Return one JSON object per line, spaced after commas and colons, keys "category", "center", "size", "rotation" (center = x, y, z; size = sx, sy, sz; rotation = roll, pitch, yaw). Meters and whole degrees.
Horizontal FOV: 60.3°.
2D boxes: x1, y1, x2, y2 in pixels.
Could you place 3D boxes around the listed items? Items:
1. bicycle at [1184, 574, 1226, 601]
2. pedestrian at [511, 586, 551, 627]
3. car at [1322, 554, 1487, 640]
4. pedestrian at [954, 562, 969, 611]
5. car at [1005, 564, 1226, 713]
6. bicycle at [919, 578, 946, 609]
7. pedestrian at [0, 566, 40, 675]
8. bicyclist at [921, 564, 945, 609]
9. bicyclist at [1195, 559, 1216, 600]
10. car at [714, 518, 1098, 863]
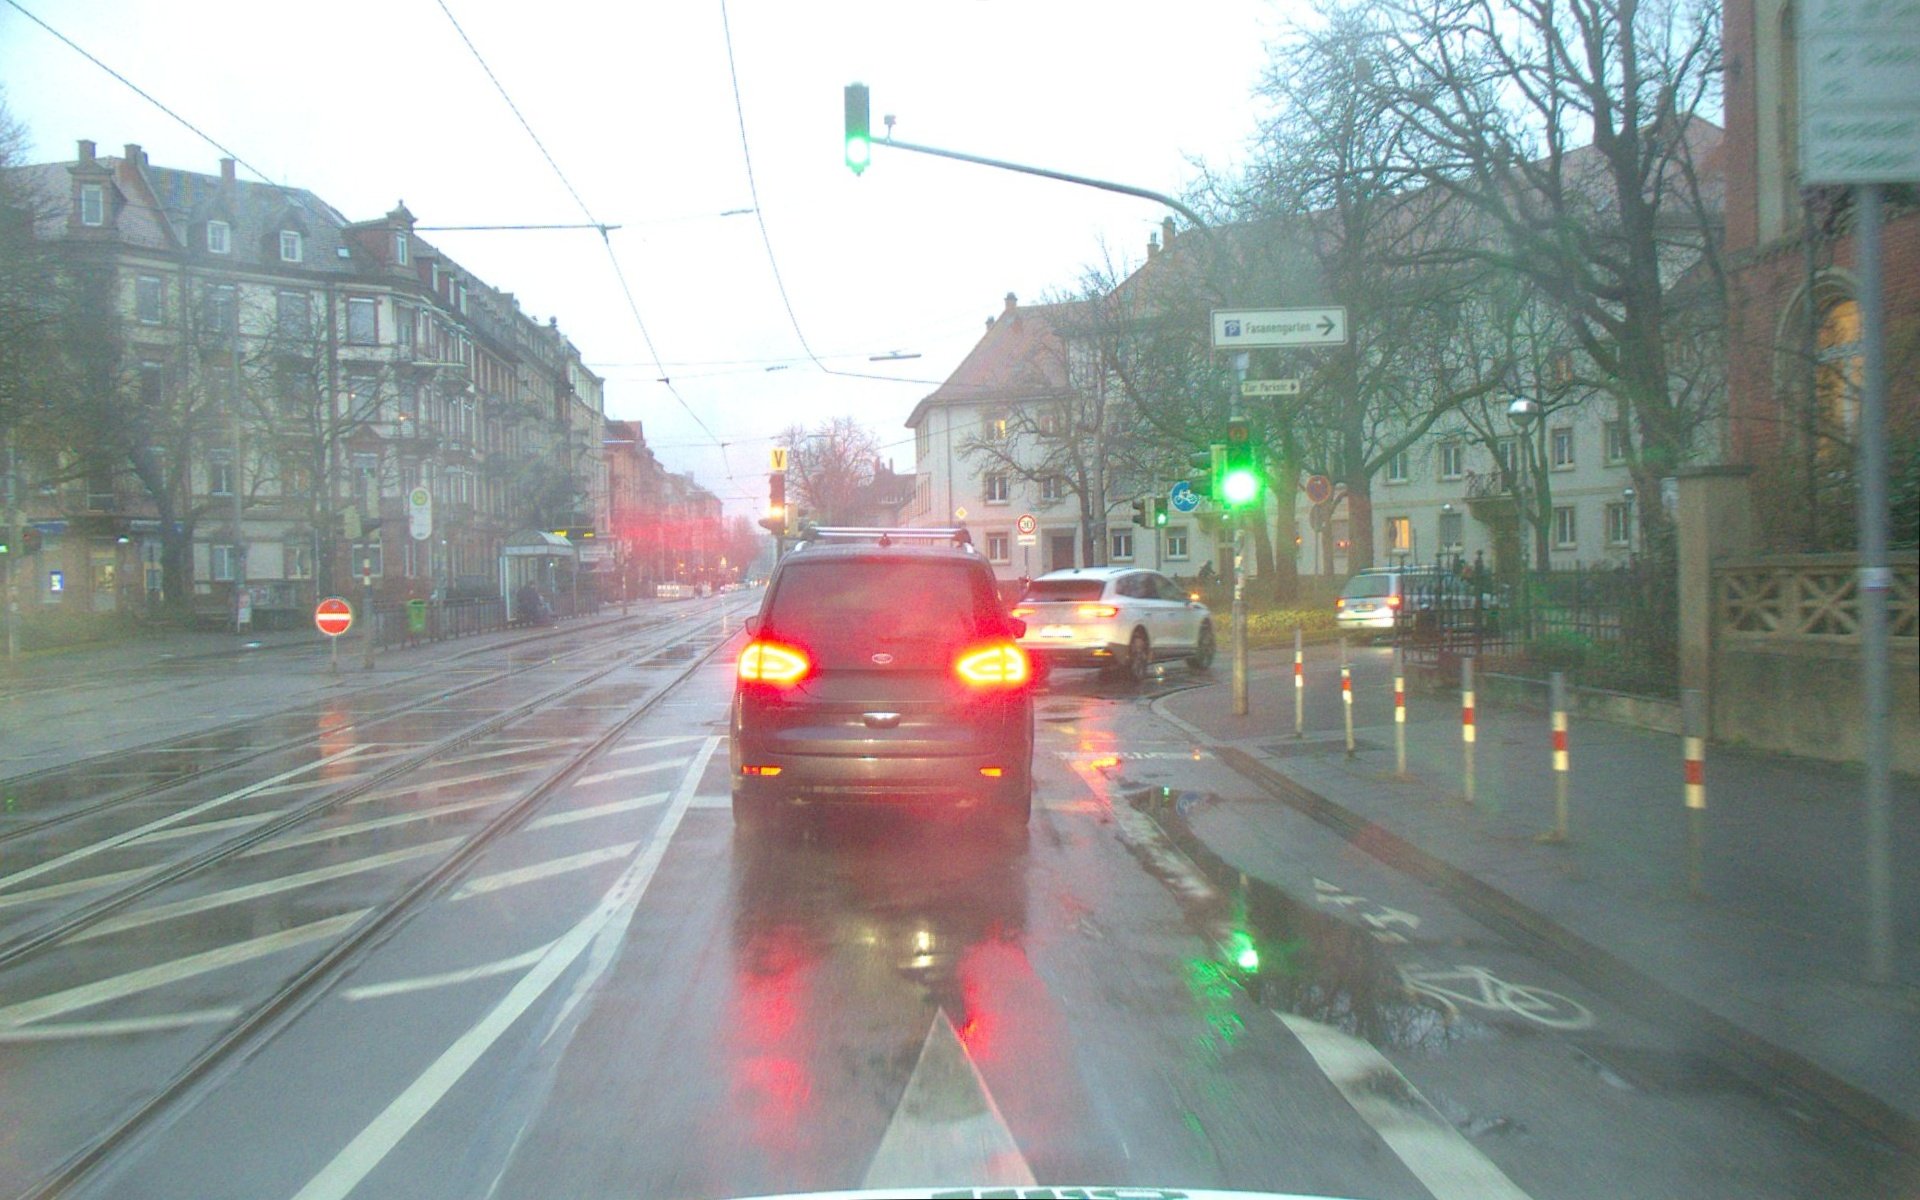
{"category": "bicycle", "center": [11.592, -0.595, 78.231], "size": [1.814, 1.204, 0.713], "rotation": [-1, 1, 27]}
{"category": "pedestrian", "center": [-12.909, 0.189, 49.786], "size": [1.027, 1.221, 0.884], "rotation": [-1, 0, -4]}
{"category": "car", "center": [9.323, -0.072, 34.549], "size": [1.684, 1.691, 3.974], "rotation": [-1, 0, 43]}
{"category": "pedestrian", "center": [0.069, -0.556, 70.108], "size": [0.584, 2.049, 0.631], "rotation": [-1, 0, -1]}
{"category": "car", "center": [2.438, 0.516, 24.930], "size": [1.677, 2.049, 4.291], "rotation": [-1, 0, 30]}
{"category": "bicycle", "center": [-1.050, -0.249, 63.296], "size": [0.704, 1.131, 1.937], "rotation": [3, 0, -9]}
{"category": "pedestrian", "center": [-18.045, 0.378, 31.613], "size": [0.695, 2.049, 0.655], "rotation": [-1, 1, -25]}
{"category": "bicyclist", "center": [-1.049, -0.531, 63.361], "size": [0.704, 1.691, 1.054], "rotation": [2, 0, -9]}
{"category": "bicyclist", "center": [11.610, -0.976, 78.221], "size": [0.791, 1.952, 0.707], "rotation": [-1, 1, 27]}
{"category": "car", "center": [-0.404, 0.461, 11.257], "size": [2.062, 1.848, 4.658], "rotation": [0, 1, -3]}
